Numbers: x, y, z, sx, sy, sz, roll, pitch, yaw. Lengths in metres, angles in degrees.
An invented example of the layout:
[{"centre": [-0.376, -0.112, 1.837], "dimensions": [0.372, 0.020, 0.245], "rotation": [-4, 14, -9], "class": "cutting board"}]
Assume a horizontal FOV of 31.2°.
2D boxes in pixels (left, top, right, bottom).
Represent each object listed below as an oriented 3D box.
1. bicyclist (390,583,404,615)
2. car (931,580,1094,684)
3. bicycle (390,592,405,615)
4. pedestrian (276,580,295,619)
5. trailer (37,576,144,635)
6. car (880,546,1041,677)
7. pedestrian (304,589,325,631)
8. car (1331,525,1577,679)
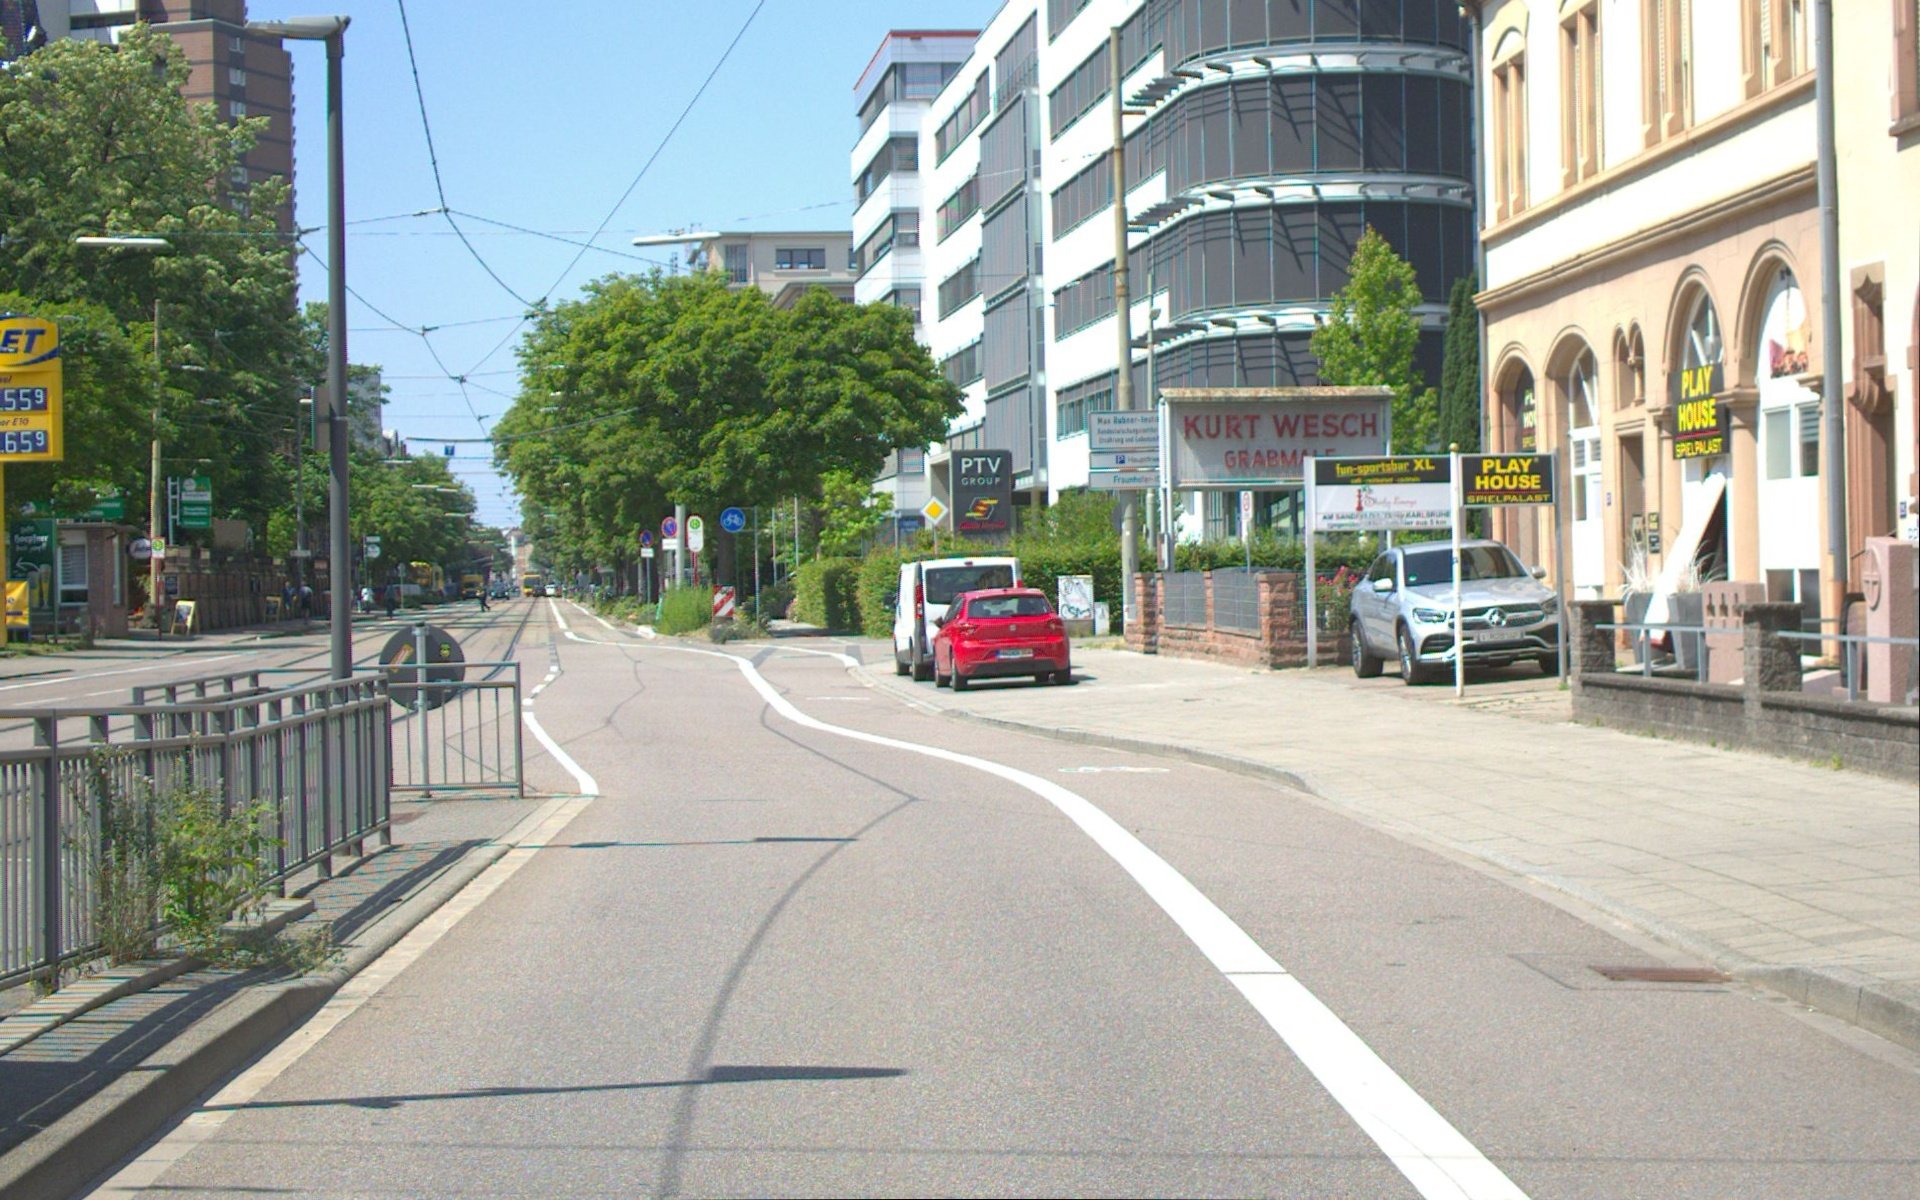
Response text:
[{"centre": [-29.657, -0.075, 181.078], "dimensions": [0.642, 1.674, 0.815], "rotation": [-1, 0, -7], "class": "bicyclist"}, {"centre": [0.734, 0.444, 50.895], "dimensions": [1.993, 1.437, 4.017], "rotation": [-1, 0, -5], "class": "car"}, {"centre": [-29.615, 0.189, 181.012], "dimensions": [0.701, 1.200, 2.241], "rotation": [-1, 0, -7], "class": "bicycle"}, {"centre": [-30.219, -0.036, 154.004], "dimensions": [0.743, 1.722, 0.867], "rotation": [-1, 0, -7], "class": "pedestrian"}, {"centre": [-25.608, 0.164, 101.294], "dimensions": [2.829, 1.698, 1.621], "rotation": [-1, 0, -6], "class": "trailer"}, {"centre": [-0.053, 0.157, 57.631], "dimensions": [1.993, 1.985, 5.515], "rotation": [-3, 1, -6], "class": "car"}, {"centre": [-27.290, 0.421, 145.329], "dimensions": [0.814, 1.764, 0.925], "rotation": [-1, 0, -7], "class": "pedestrian"}, {"centre": [5.803, 0.004, 40.963], "dimensions": [1.878, 1.619, 4.640], "rotation": [-4, 1, -4], "class": "car"}]
